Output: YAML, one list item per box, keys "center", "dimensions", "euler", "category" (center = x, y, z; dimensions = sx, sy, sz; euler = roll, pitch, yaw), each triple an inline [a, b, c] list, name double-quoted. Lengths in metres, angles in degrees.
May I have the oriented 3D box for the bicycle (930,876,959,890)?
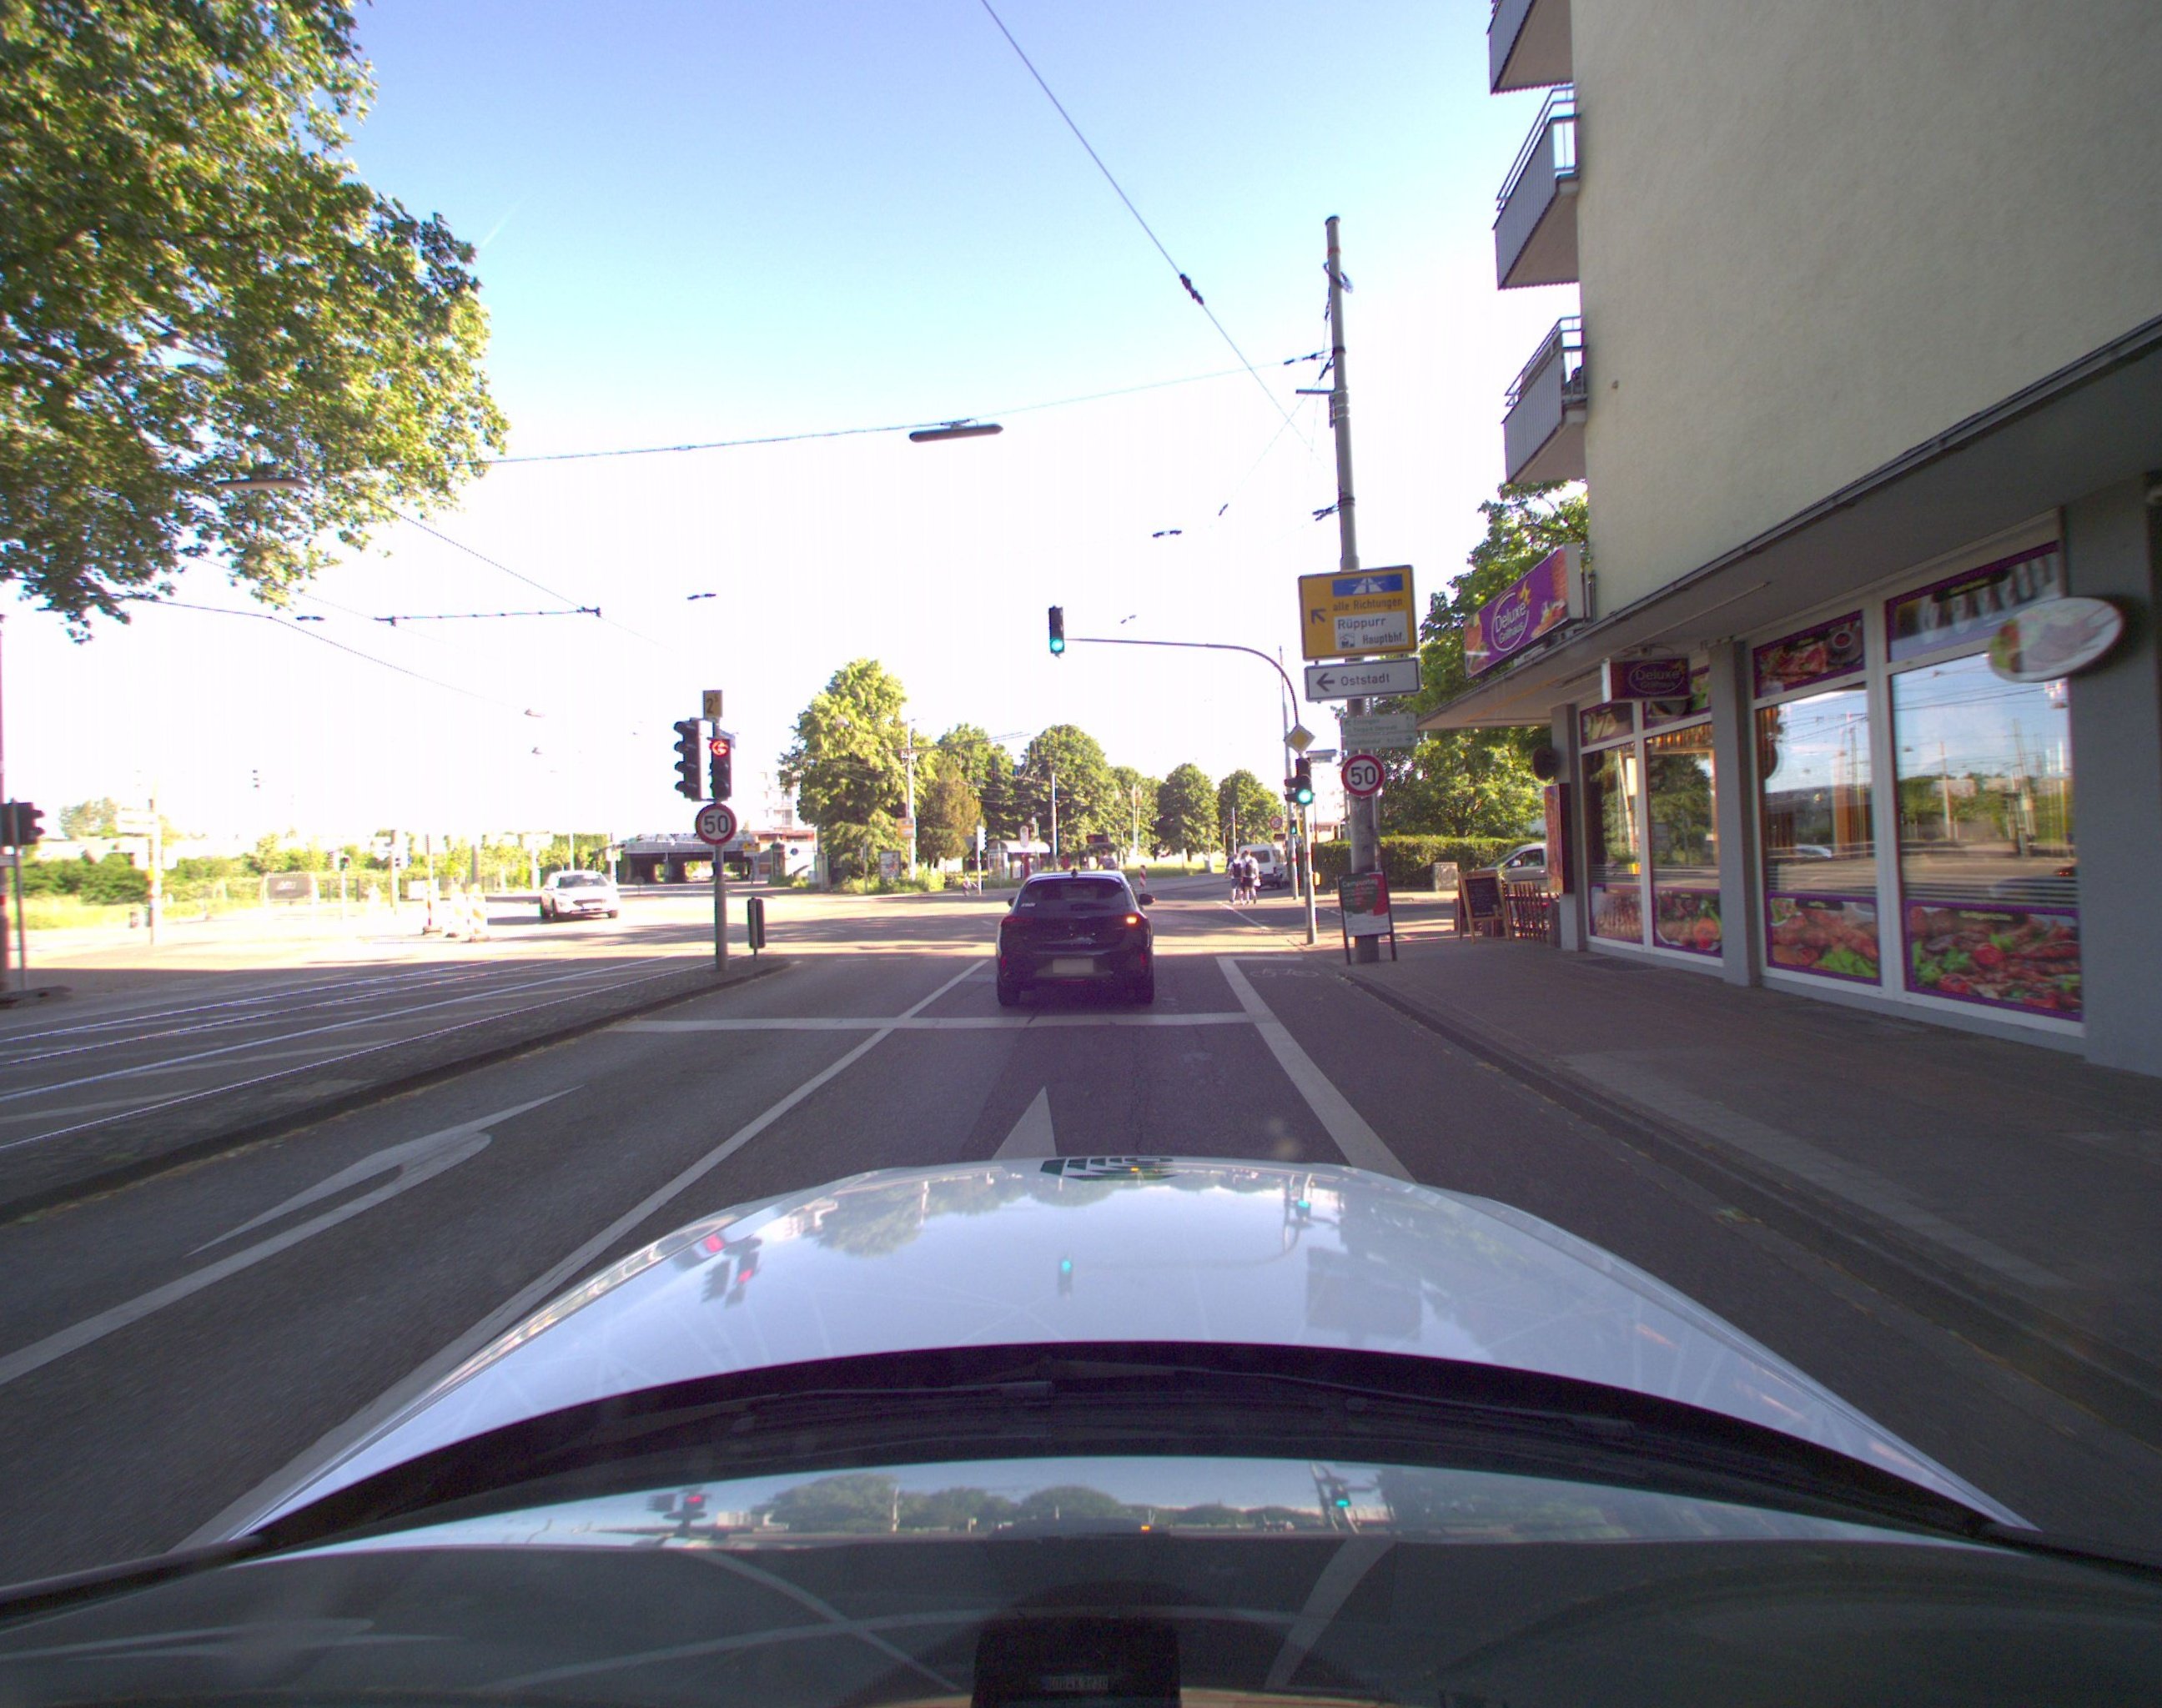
- center: [-9.639, 2.029, 57.531]
  dimensions: [1.866, 0.906, 0.661]
  euler: [-2, -1, 7]
  category: "bicycle"

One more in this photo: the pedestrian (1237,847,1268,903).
- center: [5.794, 0.711, 27.478]
  dimensions: [0.696, 1.846, 0.705]
  euler: [-3, -1, 40]
  category: "pedestrian"

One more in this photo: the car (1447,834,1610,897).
- center: [14.204, 0.413, 26.072]
  dimensions: [4.151, 1.814, 1.810]
  euler: [-2, -4, 9]
  category: "car"

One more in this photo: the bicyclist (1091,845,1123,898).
- center: [0.769, 0.524, 24.605]
  dimensions: [0.838, 1.510, 1.368]
  euler: [-2, -1, -1]
  category: "bicyclist"

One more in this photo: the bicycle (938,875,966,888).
- center: [-9.377, 2.023, 59.386]
  dimensions: [1.866, 0.906, 0.661]
  euler: [-2, -1, 7]
  category: "bicycle"

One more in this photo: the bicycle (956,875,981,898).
- center: [-5.569, 1.587, 40.325]
  dimensions: [0.822, 1.059, 1.884]
  euler: [-2, -1, 3]
  category: "bicycle"

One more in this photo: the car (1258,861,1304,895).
- center: [11.154, 1.296, 45.280]
  dimensions: [1.784, 1.763, 3.913]
  euler: [-2, -1, 23]
  category: "car"

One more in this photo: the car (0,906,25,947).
- center: [-43.835, 2.902, 30.970]
  dimensions: [4.007, 1.419, 1.879]
  euler: [-1, 5, -26]
  category: "car"

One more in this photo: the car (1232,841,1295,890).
- center: [8.958, 0.589, 39.722]
  dimensions: [2.070, 2.278, 4.330]
  euler: [-1, -2, 25]
  category: "car"

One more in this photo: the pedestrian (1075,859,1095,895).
- center: [0.219, 1.122, 40.055]
  dimensions: [0.719, 1.693, 0.704]
  euler: [-2, -1, 22]
  category: "pedestrian"

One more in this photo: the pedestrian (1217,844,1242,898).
- center: [5.090, 0.573, 27.879]
  dimensions: [0.696, 1.792, 0.617]
  euler: [-2, -1, 0]
  category: "pedestrian"

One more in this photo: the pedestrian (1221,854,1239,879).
- center: [10.745, 0.912, 58.662]
  dimensions: [0.949, 1.793, 1.001]
  euler: [-2, -1, 26]
  category: "pedestrian"

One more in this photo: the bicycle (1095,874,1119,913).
- center: [0.772, 1.171, 24.653]
  dimensions: [0.665, 1.059, 2.082]
  euler: [-2, -1, 1]
  category: "bicycle"

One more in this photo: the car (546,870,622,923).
- center: [-17.458, 1.421, 28.510]
  dimensions: [2.008, 1.632, 4.581]
  euler: [-1, -1, -34]
  category: "car"

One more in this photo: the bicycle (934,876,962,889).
- center: [-9.533, 2.033, 58.516]
  dimensions: [1.866, 0.906, 0.661]
  euler: [-2, -1, 7]
  category: "bicycle"

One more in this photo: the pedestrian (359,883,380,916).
- center: [-34.848, 2.221, 39.904]
  dimensions: [0.602, 1.596, 0.679]
  euler: [0, -2, -25]
  category: "pedestrian"

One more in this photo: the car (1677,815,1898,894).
- center: [16.117, 0.029, 18.894]
  dimensions: [1.697, 1.581, 4.038]
  euler: [-2, -1, 3]
  category: "car"

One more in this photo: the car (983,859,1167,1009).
- center: [0.010, 0.823, 10.103]
  dimensions: [1.793, 1.441, 3.941]
  euler: [-2, -1, 2]
  category: "car"
